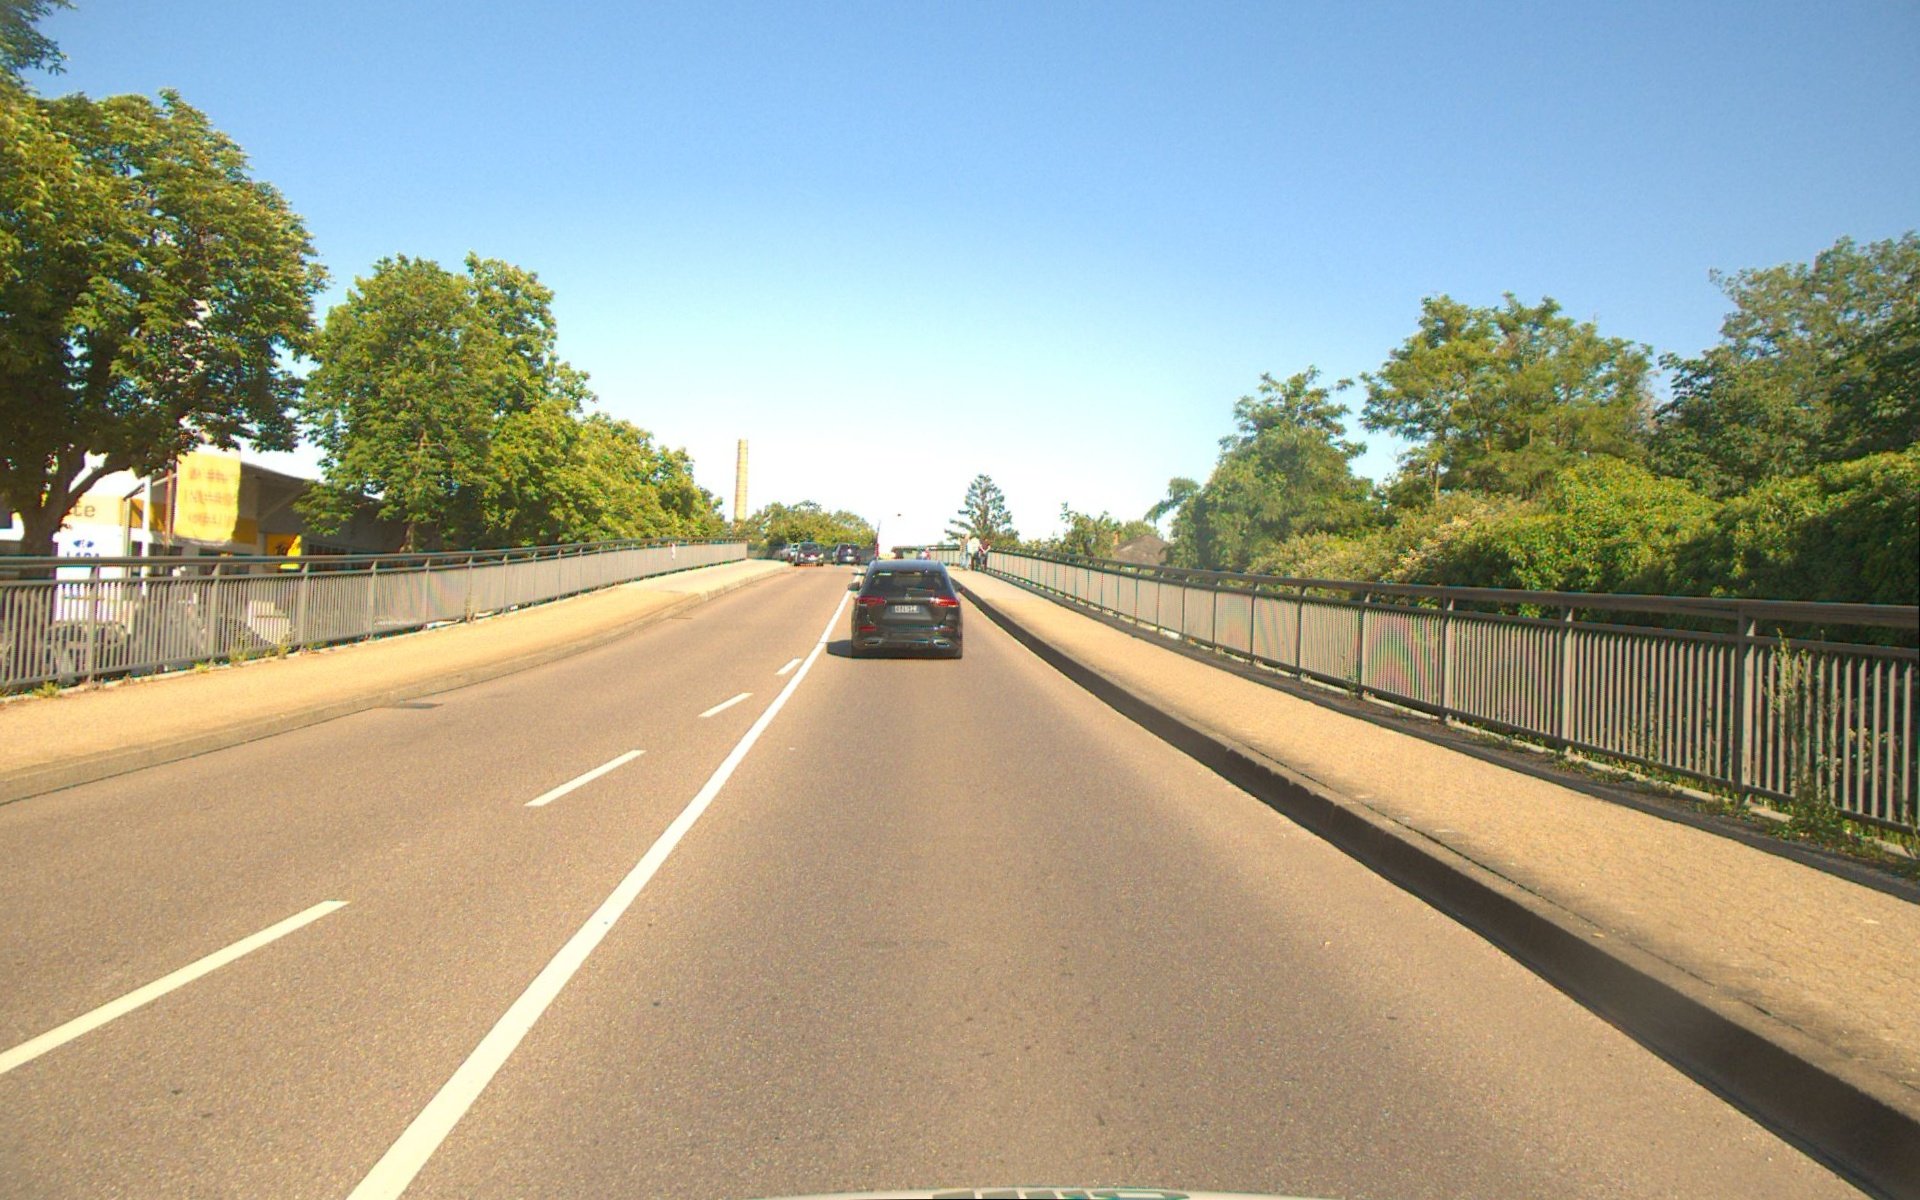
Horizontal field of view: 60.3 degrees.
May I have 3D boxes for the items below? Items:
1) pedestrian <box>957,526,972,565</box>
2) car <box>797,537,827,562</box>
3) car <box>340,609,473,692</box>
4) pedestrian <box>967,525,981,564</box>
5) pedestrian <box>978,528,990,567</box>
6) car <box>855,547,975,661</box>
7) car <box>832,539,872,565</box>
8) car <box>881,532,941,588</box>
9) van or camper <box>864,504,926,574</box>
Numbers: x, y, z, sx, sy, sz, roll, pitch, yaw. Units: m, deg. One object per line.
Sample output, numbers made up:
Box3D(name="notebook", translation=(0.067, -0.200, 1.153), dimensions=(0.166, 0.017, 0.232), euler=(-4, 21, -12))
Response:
Box3D(name="pedestrian", translation=(0.200, -2.571, 77.571), dimensions=(0.590, 1.781, 0.716), euler=(2, -1, -3))
Box3D(name="car", translation=(-9.250, -3.182, 103.689), dimensions=(1.734, 1.500, 3.987), euler=(0, 2, -3))
Box3D(name="car", translation=(-14.632, 1.281, 44.011), dimensions=(1.883, 2.026, 4.258), euler=(2, 0, 2))
Box3D(name="pedestrian", translation=(0.654, -2.623, 78.384), dimensions=(0.538, 1.781, 0.738), euler=(2, -1, -3))
Box3D(name="pedestrian", translation=(1.111, -2.474, 77.531), dimensions=(0.462, 1.781, 0.653), euler=(2, -1, -3))
Box3D(name="car", translation=(-0.801, 0.002, 26.919), dimensions=(1.735, 1.620, 3.987), euler=(2, 2, -4))
Box3D(name="car", translation=(-7.477, -3.321, 115.115), dimensions=(1.877, 1.515, 4.273), euler=(1, -2, 8))
Box3D(name="car", translation=(-1.528, -1.270, 53.282), dimensions=(1.768, 1.668, 4.000), euler=(2, 1, 0))
Box3D(name="van or camper", translation=(-3.019, -2.677, 74.779), dimensions=(2.184, 2.787, 7.070), euler=(2, 0, -7))
